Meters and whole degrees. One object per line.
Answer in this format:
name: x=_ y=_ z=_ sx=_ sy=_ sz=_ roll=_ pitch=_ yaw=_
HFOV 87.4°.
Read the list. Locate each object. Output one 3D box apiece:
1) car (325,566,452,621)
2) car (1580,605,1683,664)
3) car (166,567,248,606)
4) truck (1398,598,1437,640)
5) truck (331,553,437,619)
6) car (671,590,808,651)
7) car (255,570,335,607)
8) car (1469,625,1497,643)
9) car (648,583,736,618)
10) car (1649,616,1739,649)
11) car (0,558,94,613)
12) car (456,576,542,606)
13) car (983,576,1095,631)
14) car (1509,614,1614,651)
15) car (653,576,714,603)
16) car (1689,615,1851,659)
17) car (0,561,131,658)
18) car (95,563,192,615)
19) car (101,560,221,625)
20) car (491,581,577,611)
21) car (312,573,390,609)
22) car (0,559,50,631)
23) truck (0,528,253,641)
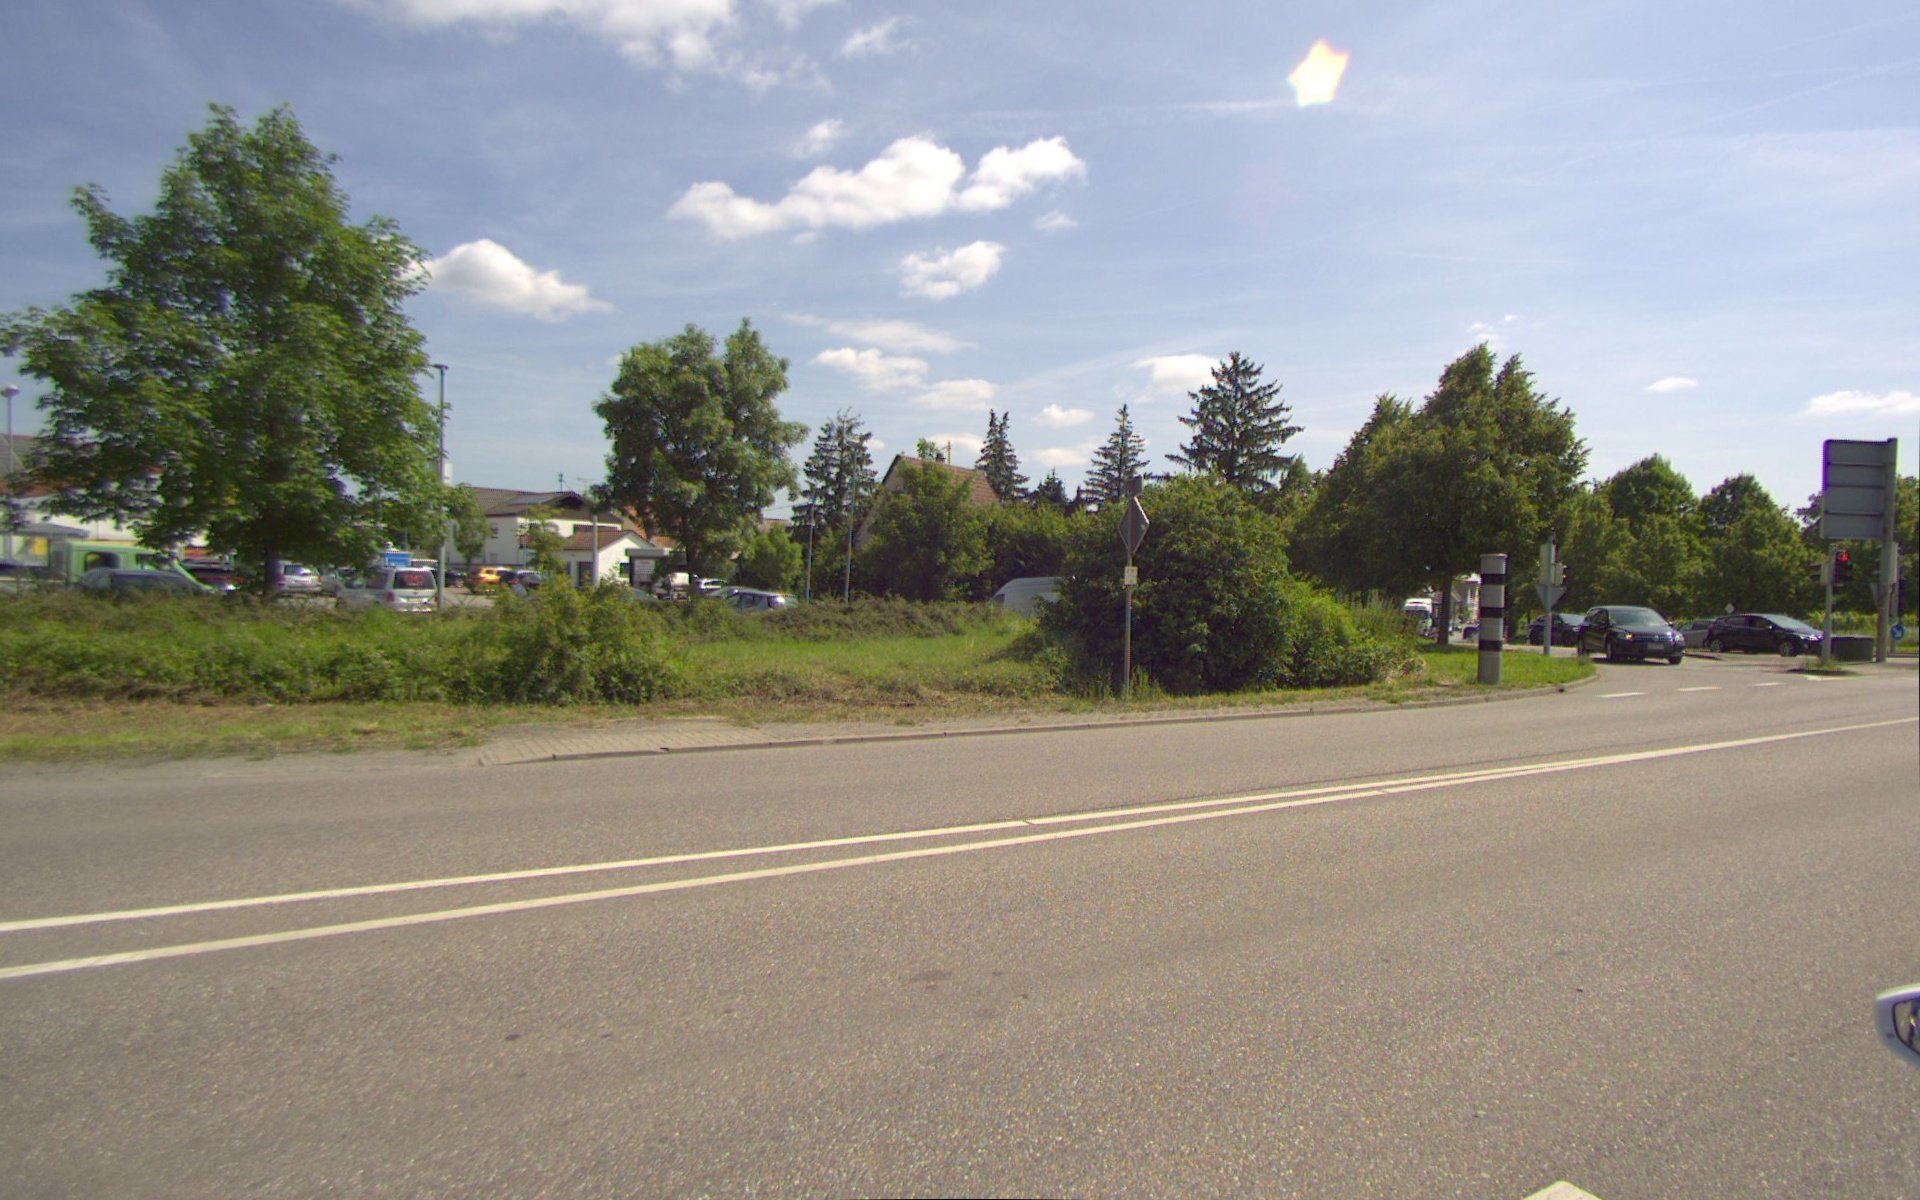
car: x=-19.309 y=-0.229 z=33.892 sx=4.353 sy=1.717 sz=1.994 roll=1 pitch=0 yaw=34
car: x=19.982 y=0.972 z=30.071 sx=1.775 sy=1.619 sz=4.267 roll=0 pitch=0 yaw=23
car: x=-32.392 y=-0.600 z=43.169 sx=4.193 sy=1.562 sz=1.871 roll=2 pitch=0 yaw=40
truck: x=45.139 y=1.877 z=99.049 sx=2.893 sy=3.848 sz=7.915 roll=2 pitch=0 yaw=28
truck: x=-22.333 y=-0.550 z=38.921 sx=3.932 sy=2.397 sz=1.994 roll=2 pitch=0 yaw=34
car: x=-7.073 y=0.625 z=32.201 sx=3.928 sy=1.751 sz=1.997 roll=2 pitch=0 yaw=29
car: x=-30.281 y=-0.526 z=45.680 sx=4.193 sy=1.562 sz=1.871 roll=2 pitch=0 yaw=40
car: x=40.559 y=2.654 z=77.906 sx=1.644 sy=1.375 sz=3.859 roll=0 pitch=-2 yaw=23
car: x=-13.577 y=0.044 z=51.023 sx=1.883 sy=1.662 sz=3.984 roll=2 pitch=0 yaw=38
car: x=36.285 y=1.589 z=49.779 sx=1.507 sy=1.511 sz=4.008 roll=2 pitch=0 yaw=-1
car: x=-28.218 y=-0.439 z=30.745 sx=3.936 sy=1.549 sz=1.772 roll=2 pitch=0 yaw=37
car: x=-27.122 y=-0.508 z=59.230 sx=1.849 sy=1.562 sz=4.243 roll=2 pitch=0 yaw=37
car: x=3.435 y=0.116 z=44.103 sx=4.524 sy=2.209 sz=1.992 roll=2 pitch=1 yaw=37
car: x=26.411 y=1.379 z=44.276 sx=1.709 sy=1.448 sz=4.276 roll=2 pitch=0 yaw=-7
car: x=-20.170 y=-0.748 z=73.416 sx=1.866 sy=1.782 sz=3.988 roll=2 pitch=0 yaw=35
car: x=27.846 y=1.241 z=34.706 sx=1.711 sy=1.322 sz=4.273 roll=2 pitch=0 yaw=-10
car: x=-17.549 y=0.150 z=19.461 sx=3.941 sy=1.679 sz=1.686 roll=2 pitch=0 yaw=42
car: x=-26.503 y=-0.367 z=32.559 sx=3.941 sy=1.549 sz=1.770 roll=2 pitch=0 yaw=41
car: x=-22.840 y=-0.224 z=28.683 sx=3.939 sy=1.711 sz=1.918 roll=2 pitch=0 yaw=40
car: x=-24.544 y=-0.219 z=57.974 sx=1.849 sy=1.562 sz=4.243 roll=2 pitch=0 yaw=37
car: x=-29.004 y=-0.449 z=47.823 sx=4.193 sy=1.562 sz=1.871 roll=2 pitch=0 yaw=40
car: x=-24.796 y=-0.190 z=25.563 sx=3.939 sy=1.697 sz=1.903 roll=3 pitch=1 yaw=40
truck: x=-20.512 y=-0.324 z=23.344 sx=2.214 sy=2.407 sz=6.323 roll=1 pitch=0 yaw=38
